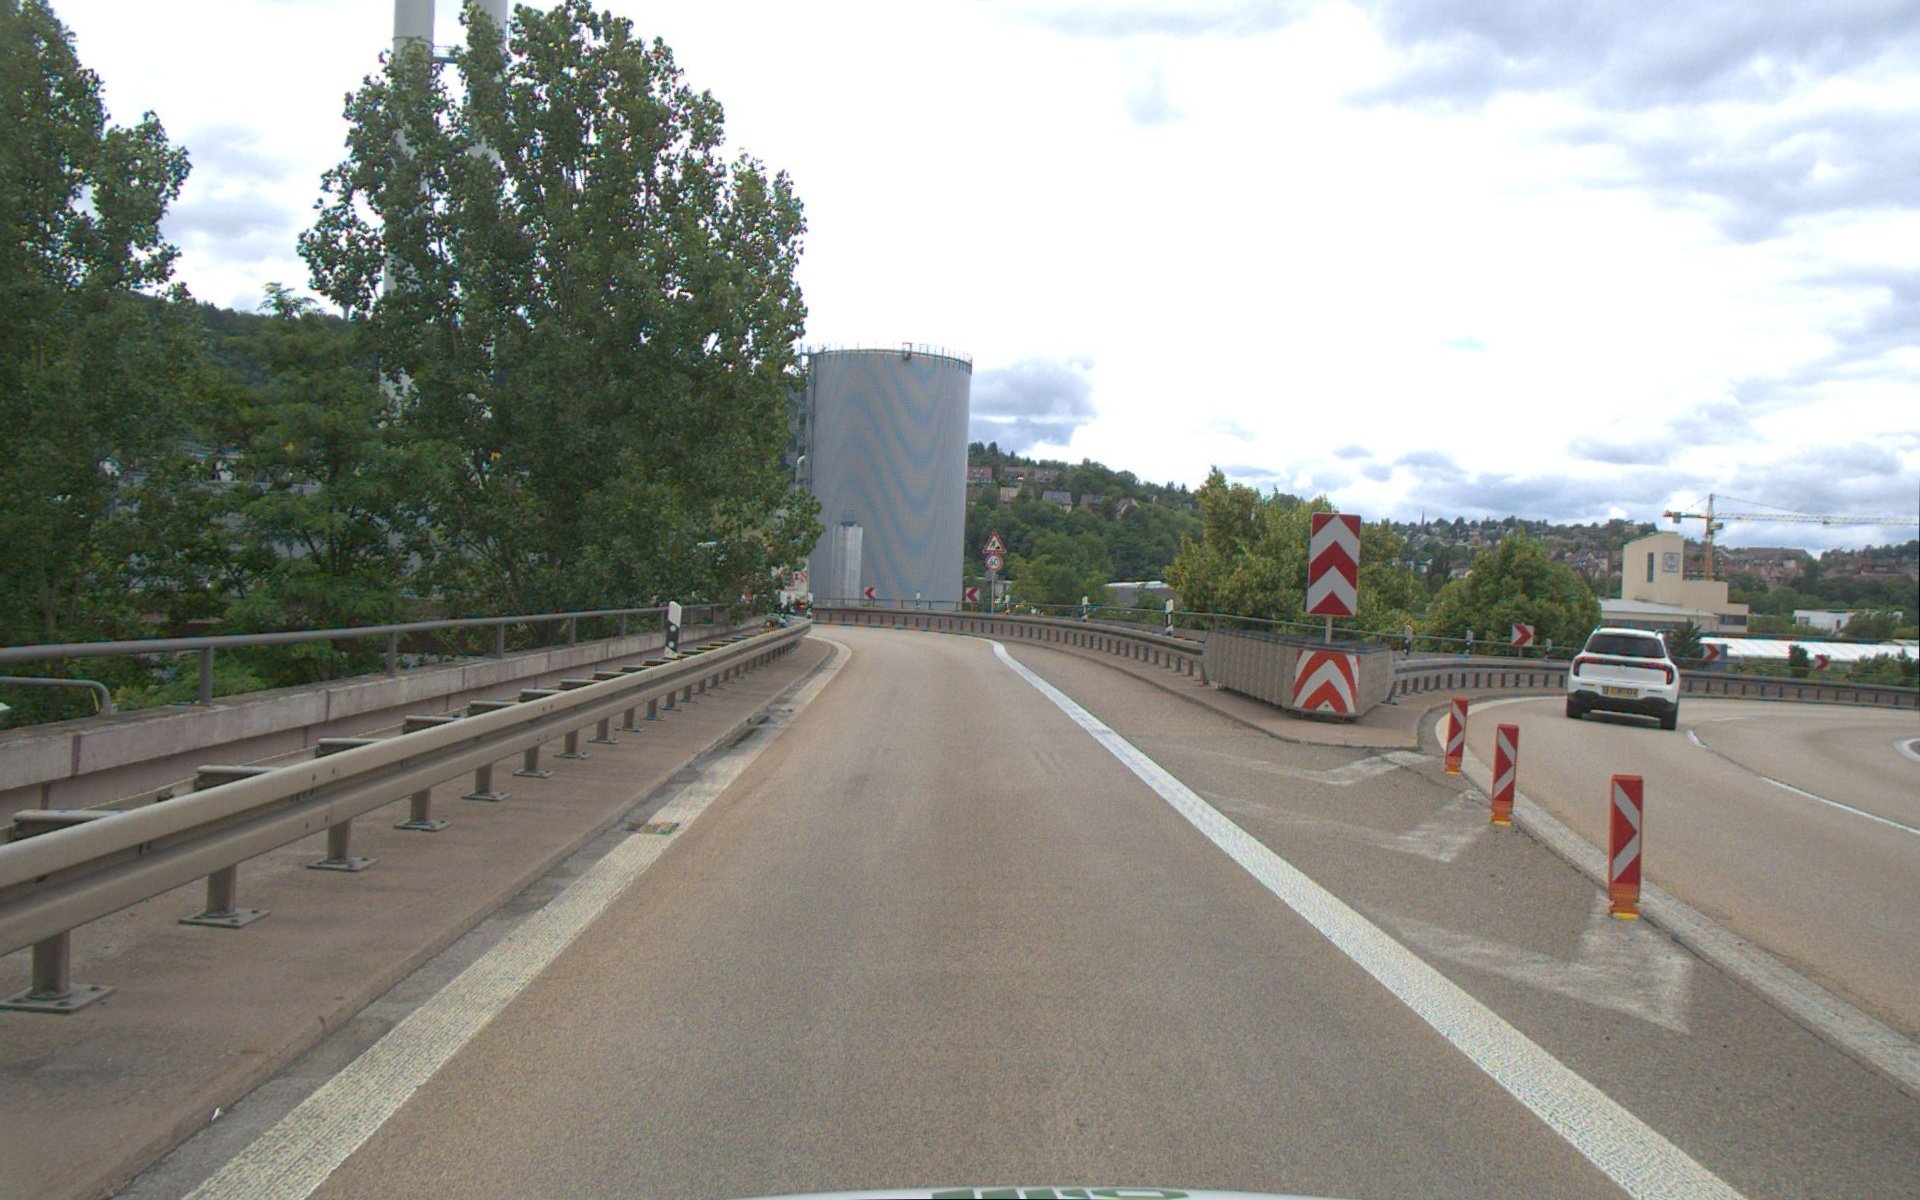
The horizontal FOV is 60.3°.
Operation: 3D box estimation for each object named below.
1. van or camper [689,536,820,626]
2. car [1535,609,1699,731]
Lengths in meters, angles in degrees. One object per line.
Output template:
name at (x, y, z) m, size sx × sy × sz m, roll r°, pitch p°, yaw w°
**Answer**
van or camper at (-9.031, -0.797, 71.632) m, size 3.083 × 3.641 × 8.479 m, roll 1°, pitch 0°, yaw -26°
car at (11.963, 1.209, 30.399) m, size 1.884 × 1.815 × 4.117 m, roll 6°, pitch 2°, yaw 10°
